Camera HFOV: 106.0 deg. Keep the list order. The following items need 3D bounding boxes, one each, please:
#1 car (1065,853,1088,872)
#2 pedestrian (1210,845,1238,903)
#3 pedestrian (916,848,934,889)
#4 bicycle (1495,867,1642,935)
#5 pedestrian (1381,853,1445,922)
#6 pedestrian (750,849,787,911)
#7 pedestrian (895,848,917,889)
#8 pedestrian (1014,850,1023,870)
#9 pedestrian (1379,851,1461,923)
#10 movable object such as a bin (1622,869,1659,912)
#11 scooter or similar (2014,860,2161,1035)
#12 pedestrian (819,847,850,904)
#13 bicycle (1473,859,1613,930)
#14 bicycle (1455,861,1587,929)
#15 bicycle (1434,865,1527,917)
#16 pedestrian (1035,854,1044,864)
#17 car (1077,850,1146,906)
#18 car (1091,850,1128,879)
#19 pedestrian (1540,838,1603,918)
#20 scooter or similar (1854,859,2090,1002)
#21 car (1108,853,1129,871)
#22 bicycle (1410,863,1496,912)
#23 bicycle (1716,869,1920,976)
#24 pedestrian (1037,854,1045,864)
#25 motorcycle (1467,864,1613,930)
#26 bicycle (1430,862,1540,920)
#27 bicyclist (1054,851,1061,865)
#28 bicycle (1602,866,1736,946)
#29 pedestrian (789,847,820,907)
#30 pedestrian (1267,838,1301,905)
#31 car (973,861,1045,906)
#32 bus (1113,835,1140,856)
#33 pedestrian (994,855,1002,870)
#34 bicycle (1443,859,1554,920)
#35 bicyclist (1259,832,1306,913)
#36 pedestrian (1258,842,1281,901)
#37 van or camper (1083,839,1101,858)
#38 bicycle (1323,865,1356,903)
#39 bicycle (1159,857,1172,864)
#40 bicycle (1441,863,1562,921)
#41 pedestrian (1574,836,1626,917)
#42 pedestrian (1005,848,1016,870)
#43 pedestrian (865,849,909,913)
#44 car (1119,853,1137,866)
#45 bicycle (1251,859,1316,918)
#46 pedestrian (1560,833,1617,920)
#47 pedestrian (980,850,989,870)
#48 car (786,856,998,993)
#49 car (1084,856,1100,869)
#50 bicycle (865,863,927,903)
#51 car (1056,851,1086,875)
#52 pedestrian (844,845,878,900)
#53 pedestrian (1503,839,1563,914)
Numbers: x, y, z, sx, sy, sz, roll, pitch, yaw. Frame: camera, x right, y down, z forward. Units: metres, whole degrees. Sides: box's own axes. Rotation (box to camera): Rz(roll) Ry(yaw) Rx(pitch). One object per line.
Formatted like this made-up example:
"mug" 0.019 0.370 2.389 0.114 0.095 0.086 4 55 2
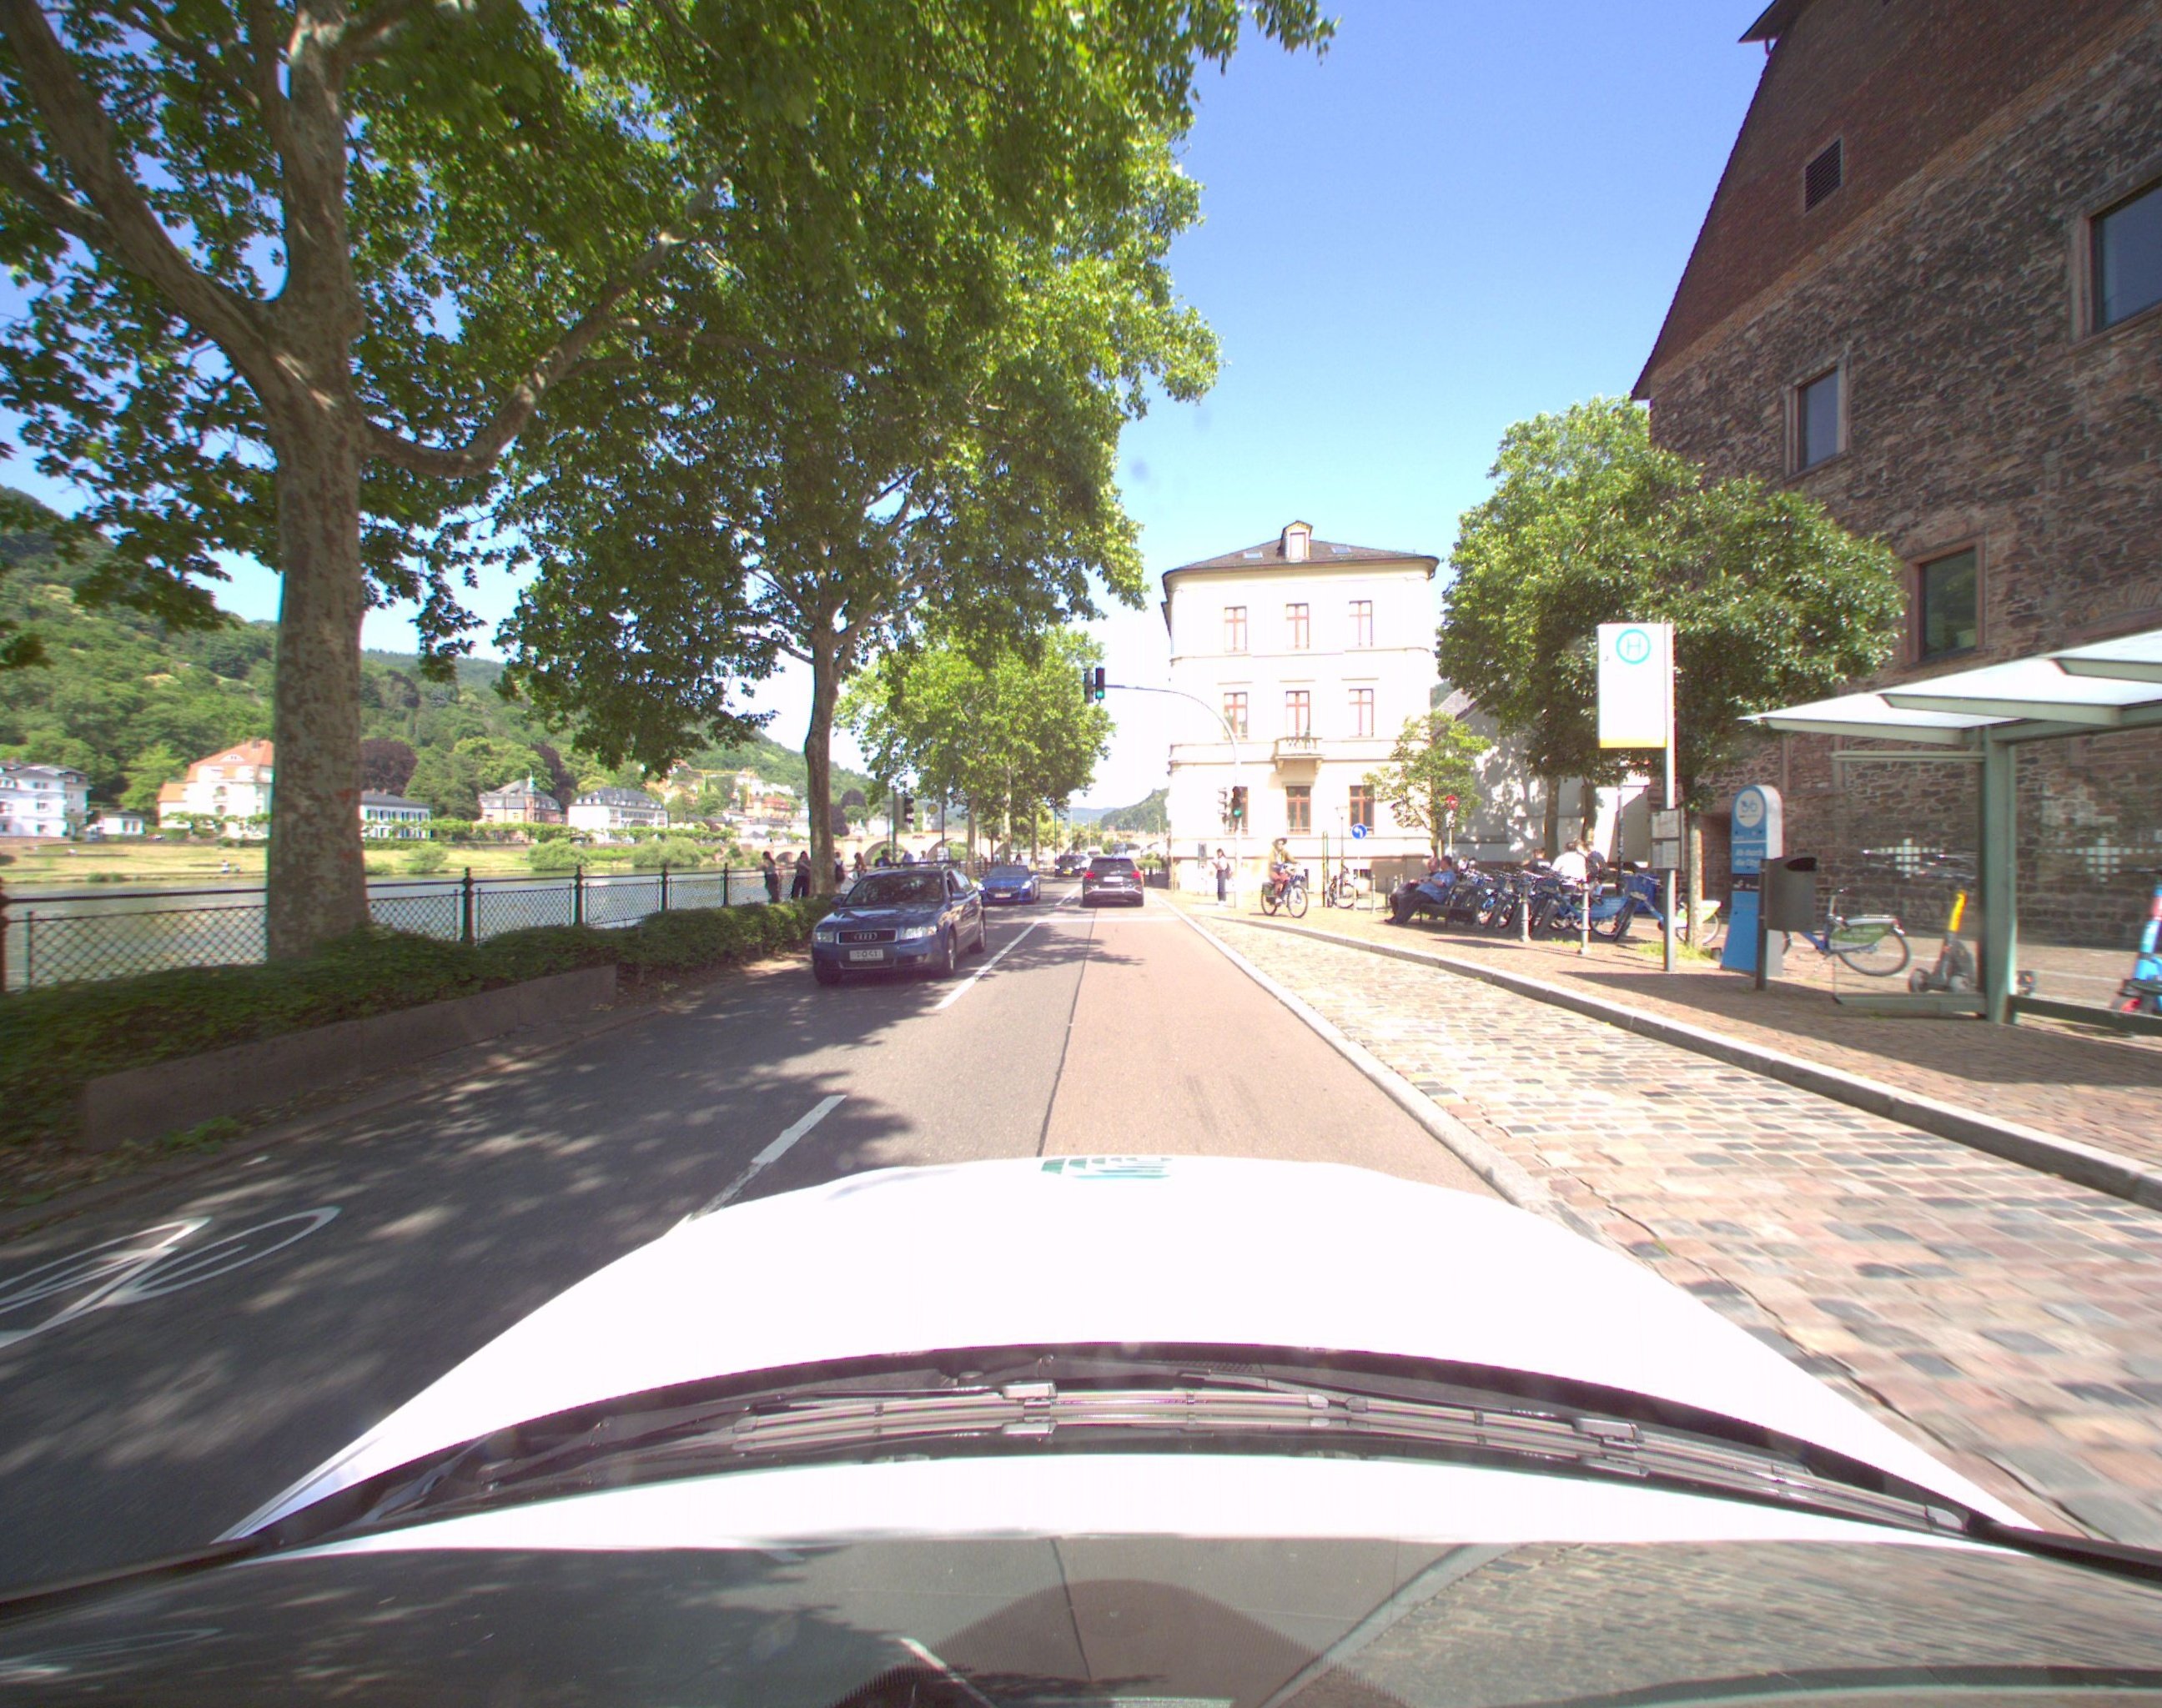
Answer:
"car" -0.415 0.768 70.055 1.731 1.518 4.399 -1 -1 -3
"pedestrian" 4.178 0.578 23.762 0.712 1.675 0.682 0 -1 1
"pedestrian" -6.298 0.592 32.897 0.492 1.617 0.992 0 0 2
"bicycle" 8.273 0.785 13.888 2.017 1.065 0.801 1 1 0
"pedestrian" 6.387 0.634 15.704 0.957 1.282 0.694 0 -1 0
"pedestrian" -8.515 0.696 22.210 0.547 1.608 0.911 2 0 2
"pedestrian" -7.465 0.613 34.830 0.708 1.764 0.972 0 0 1
"pedestrian" -5.361 0.484 69.842 0.654 1.682 0.759 3 0 1
"pedestrian" 6.239 0.598 15.027 1.243 1.308 0.693 0 -1 0
"movable object such as a bin" 14.940 0.954 21.758 0.487 1.124 0.751 0 -1 2
"scooter or similar" 7.991 0.673 6.015 1.425 1.215 0.652 2 0 1
"pedestrian" -7.568 0.637 25.059 0.650 1.713 0.793 -1 0 1
"bicycle" 8.317 0.717 14.705 2.073 1.198 0.776 1 1 0
"bicycle" 8.335 0.770 15.489 2.073 1.198 0.776 1 1 0
"bicycle" 9.043 0.832 18.460 1.786 1.110 0.608 1 1 0
"pedestrian" -5.279 0.665 103.225 0.930 1.281 0.852 0 0 11
"car" 0.926 0.668 25.215 1.919 1.553 4.834 0 0 2
"car" 1.559 0.543 44.232 1.919 1.461 4.834 0 0 2
"pedestrian" 11.022 0.526 18.328 0.804 1.753 0.904 0 -1 -16
"scooter or similar" 8.142 0.673 7.488 1.425 1.215 0.652 2 0 1
"car" 3.461 0.694 75.454 1.919 1.553 4.835 -1 0 2
"bicycle" 8.936 0.793 19.589 1.786 1.110 0.563 1 1 0
"bicycle" 8.700 0.759 9.701 0.549 1.131 1.722 0 0 -27
"pedestrian" -5.113 0.614 104.092 0.930 1.281 0.852 0 0 11
"motorcycle" 8.254 0.762 14.705 2.197 1.103 0.776 1 1 0
"bicycle" 8.813 0.793 17.804 2.072 1.198 0.608 1 1 0
"bicyclist" -2.811 0.467 97.176 0.716 1.583 1.090 0 0 4
"bicycle" 9.123 0.792 12.696 1.539 1.198 0.727 0 0 8
"pedestrian" -7.996 0.658 23.545 0.616 1.700 0.696 1 -1 1
"pedestrian" 5.773 0.493 23.198 0.621 1.852 0.722 0 -1 -38
"car" -2.299 0.921 27.082 1.834 1.269 4.263 -3 0 1
"bus" 8.262 -1.422 146.135 2.613 3.564 13.026 0 -1 12
"pedestrian" -8.820 0.920 86.165 0.689 1.616 0.665 0 -1 9
"bicycle" 8.801 0.740 17.202 2.073 1.198 0.527 1 1 0
"bicyclist" 4.189 0.377 16.984 0.708 1.628 0.885 0 -1 -5
"pedestrian" 5.519 0.514 23.854 0.525 1.712 0.666 0 -1 1
"van or camper" 1.508 -0.690 109.715 2.078 2.557 7.098 0 0 3
"bicycle" 7.095 0.848 22.406 0.505 1.004 1.581 1 -3 4
"bicycle" 12.758 0.967 122.795 1.801 0.878 0.503 2 1 6
"bicycle" 8.344 0.746 16.209 2.073 1.085 0.604 1 1 0
"pedestrian" 12.856 0.549 20.180 0.807 1.942 0.783 0 -1 -28
"pedestrian" -5.213 0.373 60.419 0.759 1.586 0.696 0 -1 1
"pedestrian" -5.471 0.746 23.013 1.012 1.773 0.774 0 -1 42
"car" 5.945 0.636 102.246 1.916 1.553 4.841 -1 0 7
"bicycle" 4.166 0.677 16.918 0.688 1.129 2.005 0 0 -6
"pedestrian" 11.776 0.516 18.915 0.655 1.960 0.936 0 -1 -14
"pedestrian" -9.662 0.585 81.517 0.691 1.945 0.887 0 -1 1
"car" -2.439 0.836 11.724 1.694 1.518 4.409 -3 0 3
"car" 1.313 0.994 95.119 1.694 1.458 4.004 -1 0 3
"bicycle" -5.172 0.783 22.685 1.808 0.925 0.747 6 3 42
"car" -0.670 0.623 56.560 1.694 1.518 4.409 -2 0 3
"pedestrian" -6.953 0.582 25.753 0.832 1.713 0.783 0 -1 1
"pedestrian" 11.015 0.526 19.850 0.993 1.765 0.918 0 -1 -31
